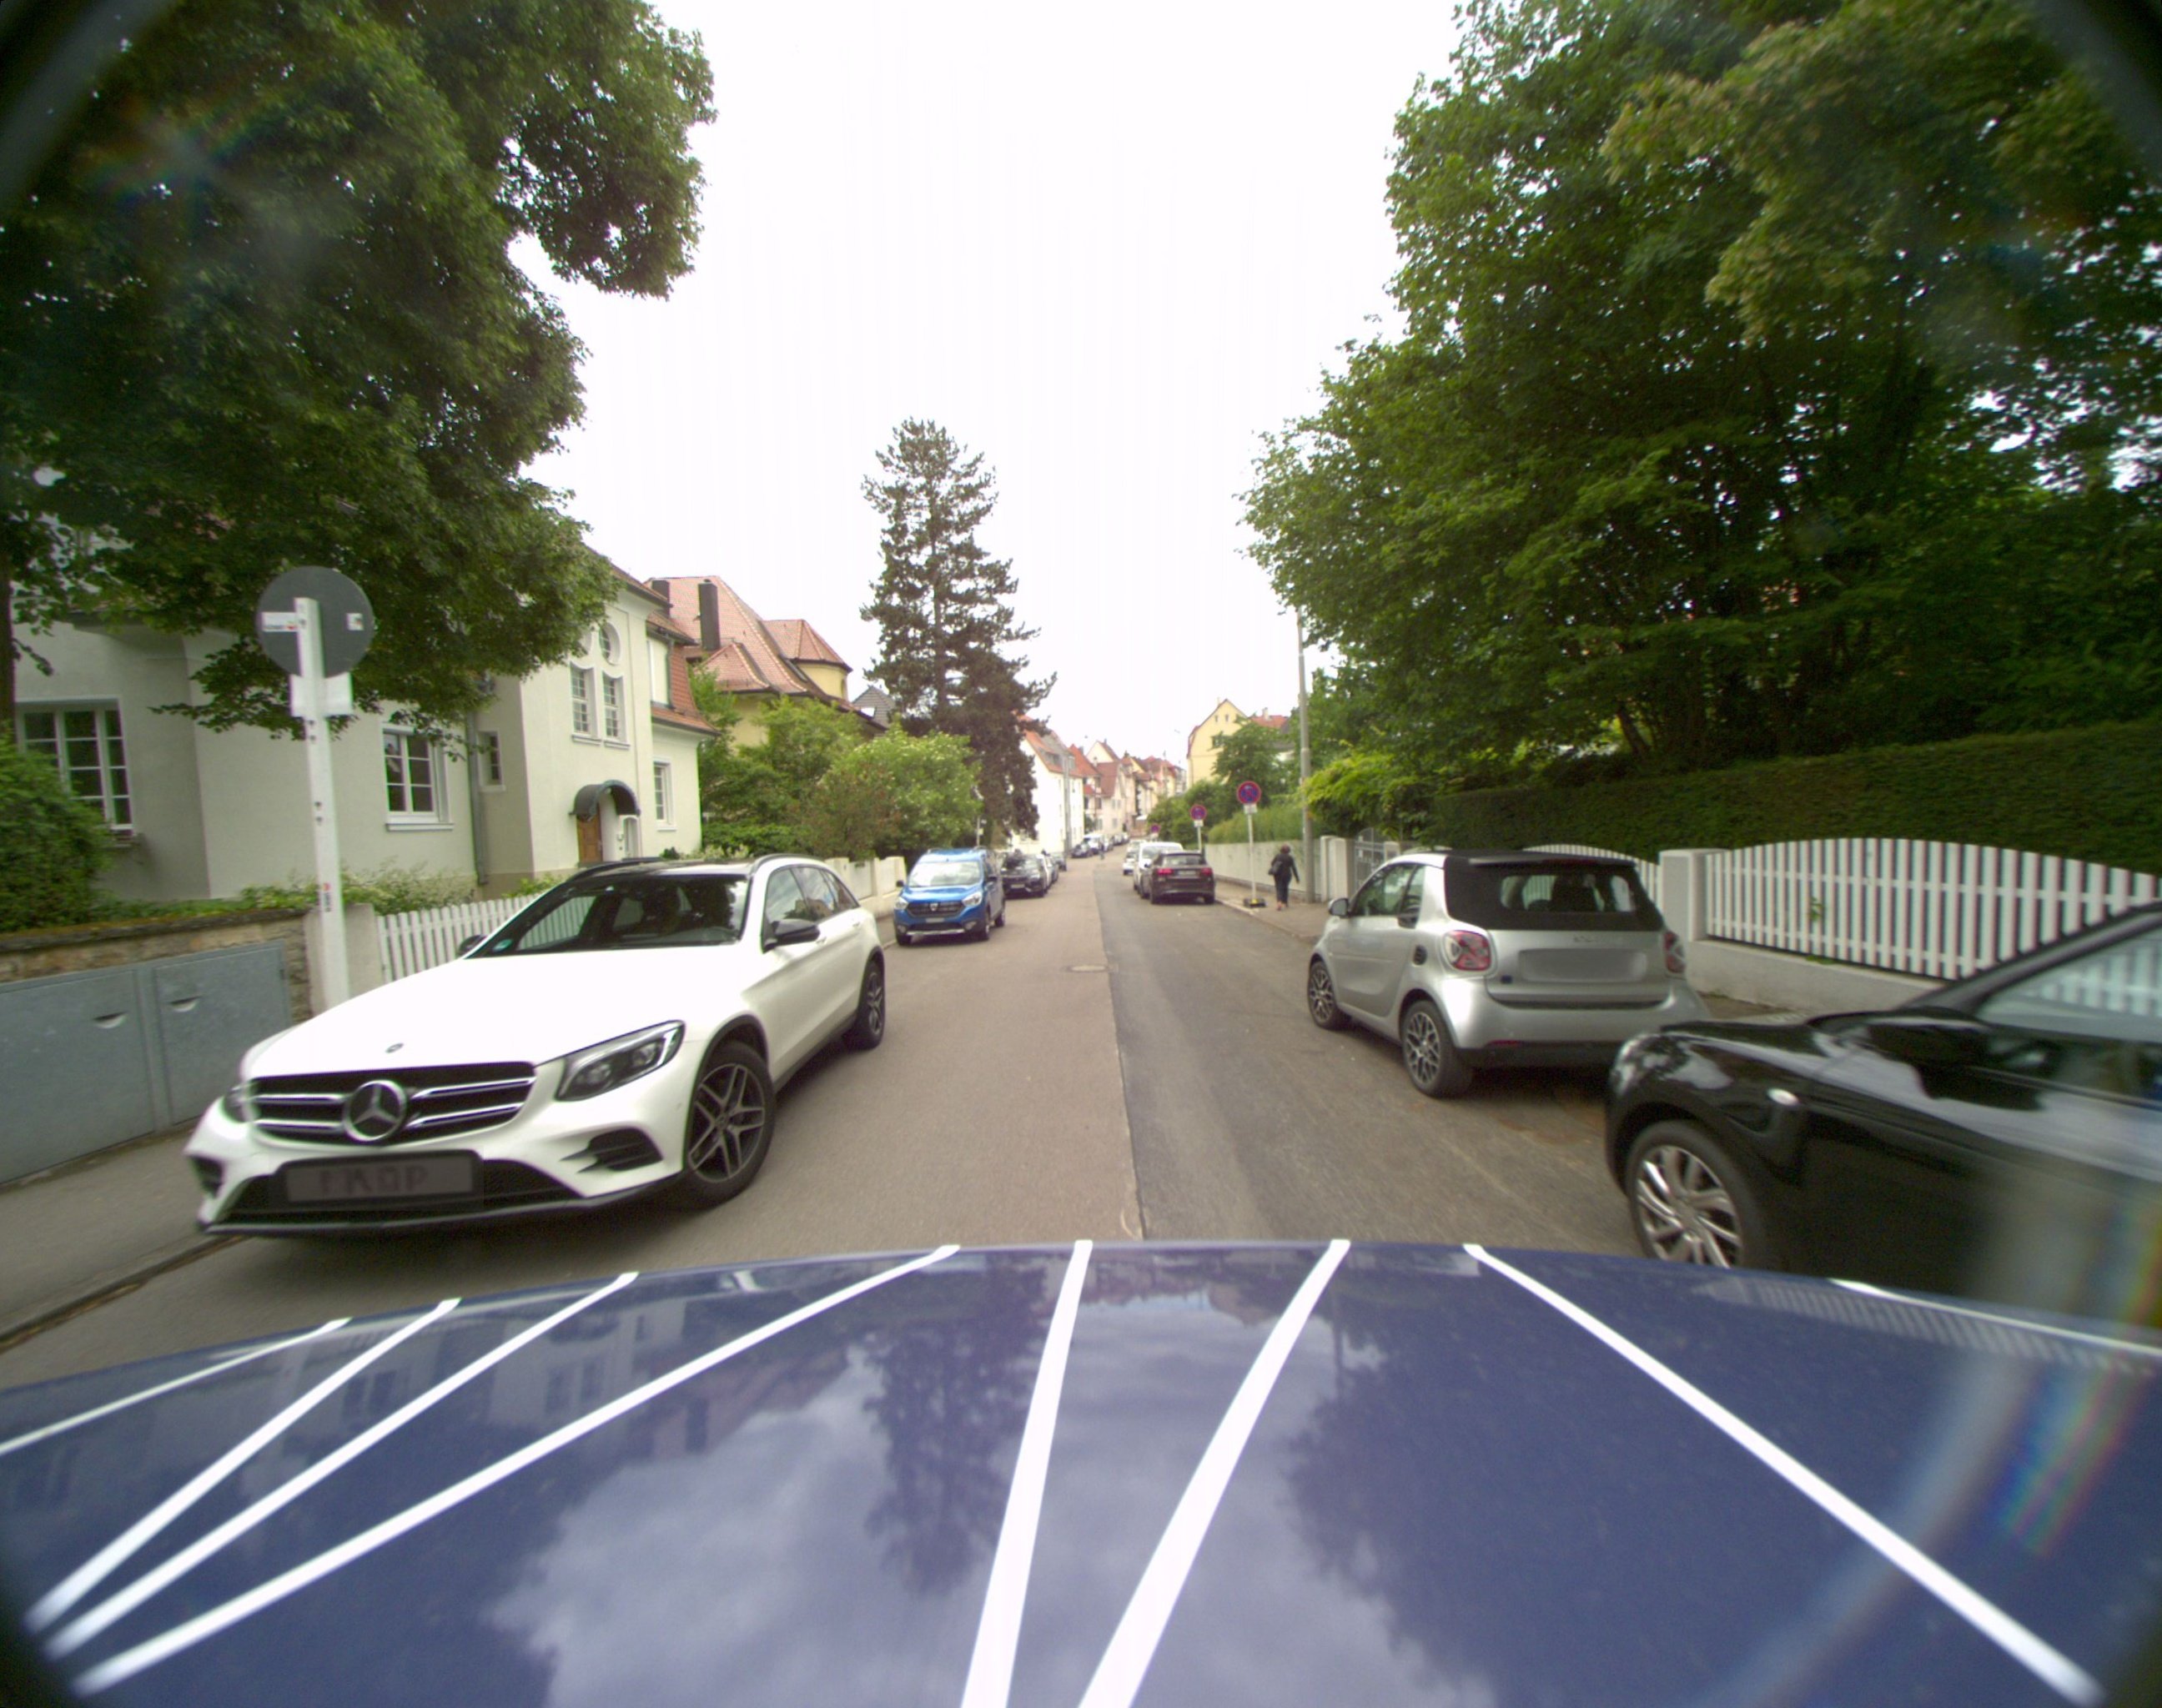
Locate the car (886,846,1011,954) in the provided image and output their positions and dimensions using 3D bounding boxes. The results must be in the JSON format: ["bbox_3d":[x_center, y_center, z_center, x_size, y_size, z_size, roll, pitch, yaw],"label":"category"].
[{"bbox_3d":[-2.546,0.816,15.557,1.687,1.818,4.156,-4,0,0],"label":"car"}]

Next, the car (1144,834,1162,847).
[{"bbox_3d":[9.358,-1.776,98.155,1.805,1.472,4.329,-1,4,12],"label":"car"}]

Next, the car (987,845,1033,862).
[{"bbox_3d":[-7.309,-0.044,78.783,4.351,1.442,1.765,-3,2,14],"label":"car"}]

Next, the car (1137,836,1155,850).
[{"bbox_3d":[7.676,-1.268,89.657,1.609,1.446,3.615,1,4,12],"label":"car"}]

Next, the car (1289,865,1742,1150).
[{"bbox_3d":[2.831,0.873,5.711,1.626,1.524,2.961,0,0,-2],"label":"car"}]

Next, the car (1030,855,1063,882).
[{"bbox_3d":[-1.978,0.804,44.708,1.577,1.392,3.655,-4,1,2],"label":"car"}]

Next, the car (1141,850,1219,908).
[{"bbox_3d":[2.989,0.709,23.873,1.795,1.614,4.342,-1,1,-1],"label":"car"}]

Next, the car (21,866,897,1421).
[{"bbox_3d":[-2.546,0.967,4.757,1.762,1.596,4.573,-3,0,-2],"label":"car"}]

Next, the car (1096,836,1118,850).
[{"bbox_3d":[3.307,-1.428,95.686,1.827,1.437,4.384,-2,4,13],"label":"car"}]

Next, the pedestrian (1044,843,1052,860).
[{"bbox_3d":[-3.158,-0.209,72.691,0.682,1.568,0.906,1,3,7],"label":"pedestrian"}]

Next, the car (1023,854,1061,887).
[{"bbox_3d":[-2.037,0.827,40.480,1.651,1.450,4.051,-3,1,1],"label":"car"}]

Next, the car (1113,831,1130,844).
[{"bbox_3d":[5.719,-2.351,106.446,1.607,1.482,4.023,-2,4,12],"label":"car"}]

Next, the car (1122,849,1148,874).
[{"bbox_3d":[3.551,0.476,49.465,1.445,1.543,2.771,1,1,8],"label":"car"}]

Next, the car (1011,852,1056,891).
[{"bbox_3d":[-2.189,0.784,36.101,1.789,1.594,4.303,-4,1,0],"label":"car"}]

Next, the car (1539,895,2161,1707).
[{"bbox_3d":[2.714,0.921,1.232,1.659,1.472,3.888,1,0,2],"label":"car"}]

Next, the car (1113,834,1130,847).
[{"bbox_3d":[5.704,-1.924,106.532,1.779,1.711,4.001,-2,2,11],"label":"car"}]

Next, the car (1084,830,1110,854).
[{"bbox_3d":[1.956,-1.425,89.613,1.996,2.410,5.294,-1,4,13],"label":"car"}]

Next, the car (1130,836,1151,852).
[{"bbox_3d":[6.614,-1.136,84.586,1.807,1.650,4.153,-1,2,12],"label":"car"}]

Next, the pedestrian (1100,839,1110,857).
[{"bbox_3d":[2.420,-0.596,76.223,0.822,1.750,0.644,-4,2,2],"label":"pedestrian"}]

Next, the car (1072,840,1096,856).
[{"bbox_3d":[0.380,-0.712,83.244,1.821,1.478,4.288,-2,3,11],"label":"car"}]

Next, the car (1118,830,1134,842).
[{"bbox_3d":[6.625,-2.689,111.250,1.628,1.385,4.236,-3,4,11],"label":"car"}]

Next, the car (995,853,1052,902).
[{"bbox_3d":[-2.184,0.874,29.892,1.754,1.599,4.075,-4,1,1],"label":"car"}]

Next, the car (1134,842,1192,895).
[{"bbox_3d":[3.137,0.487,29.870,1.859,1.902,4.619,0,1,1],"label":"car"}]

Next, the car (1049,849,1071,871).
[{"bbox_3d":[-1.653,0.436,59.906,1.576,1.523,2.867,-5,1,-1],"label":"car"}]

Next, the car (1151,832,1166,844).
[{"bbox_3d":[10.638,-2.234,104.015,1.641,1.421,4.123,0,5,12],"label":"car"}]

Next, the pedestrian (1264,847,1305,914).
[{"bbox_3d":[4.951,0.630,18.511,0.610,1.538,0.797,-7,1,0],"label":"pedestrian"}]
